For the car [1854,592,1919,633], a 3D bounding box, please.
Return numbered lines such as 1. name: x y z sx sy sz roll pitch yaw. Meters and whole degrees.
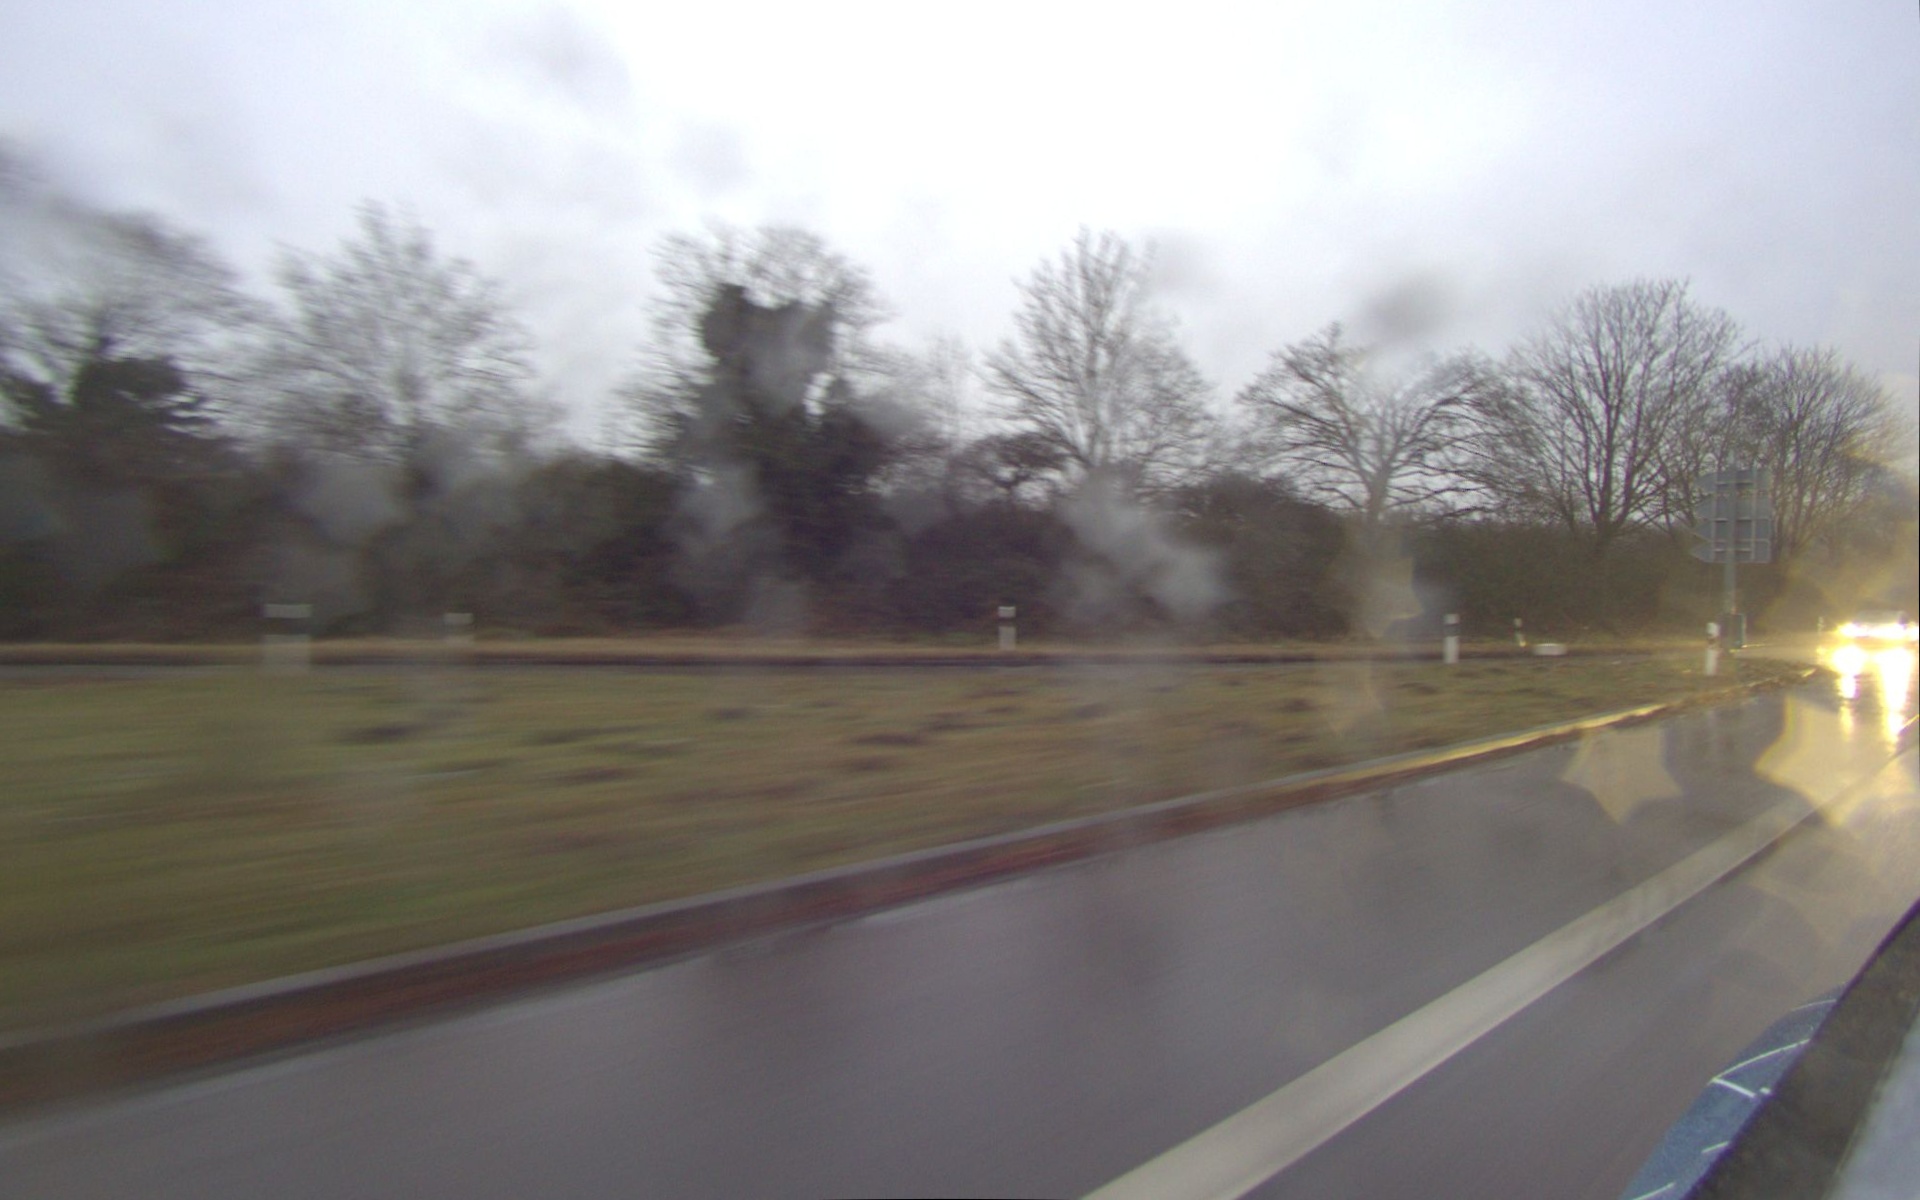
1. car: 36.057 0.434 38.783 3.717 1.452 1.731 0 1 -33
